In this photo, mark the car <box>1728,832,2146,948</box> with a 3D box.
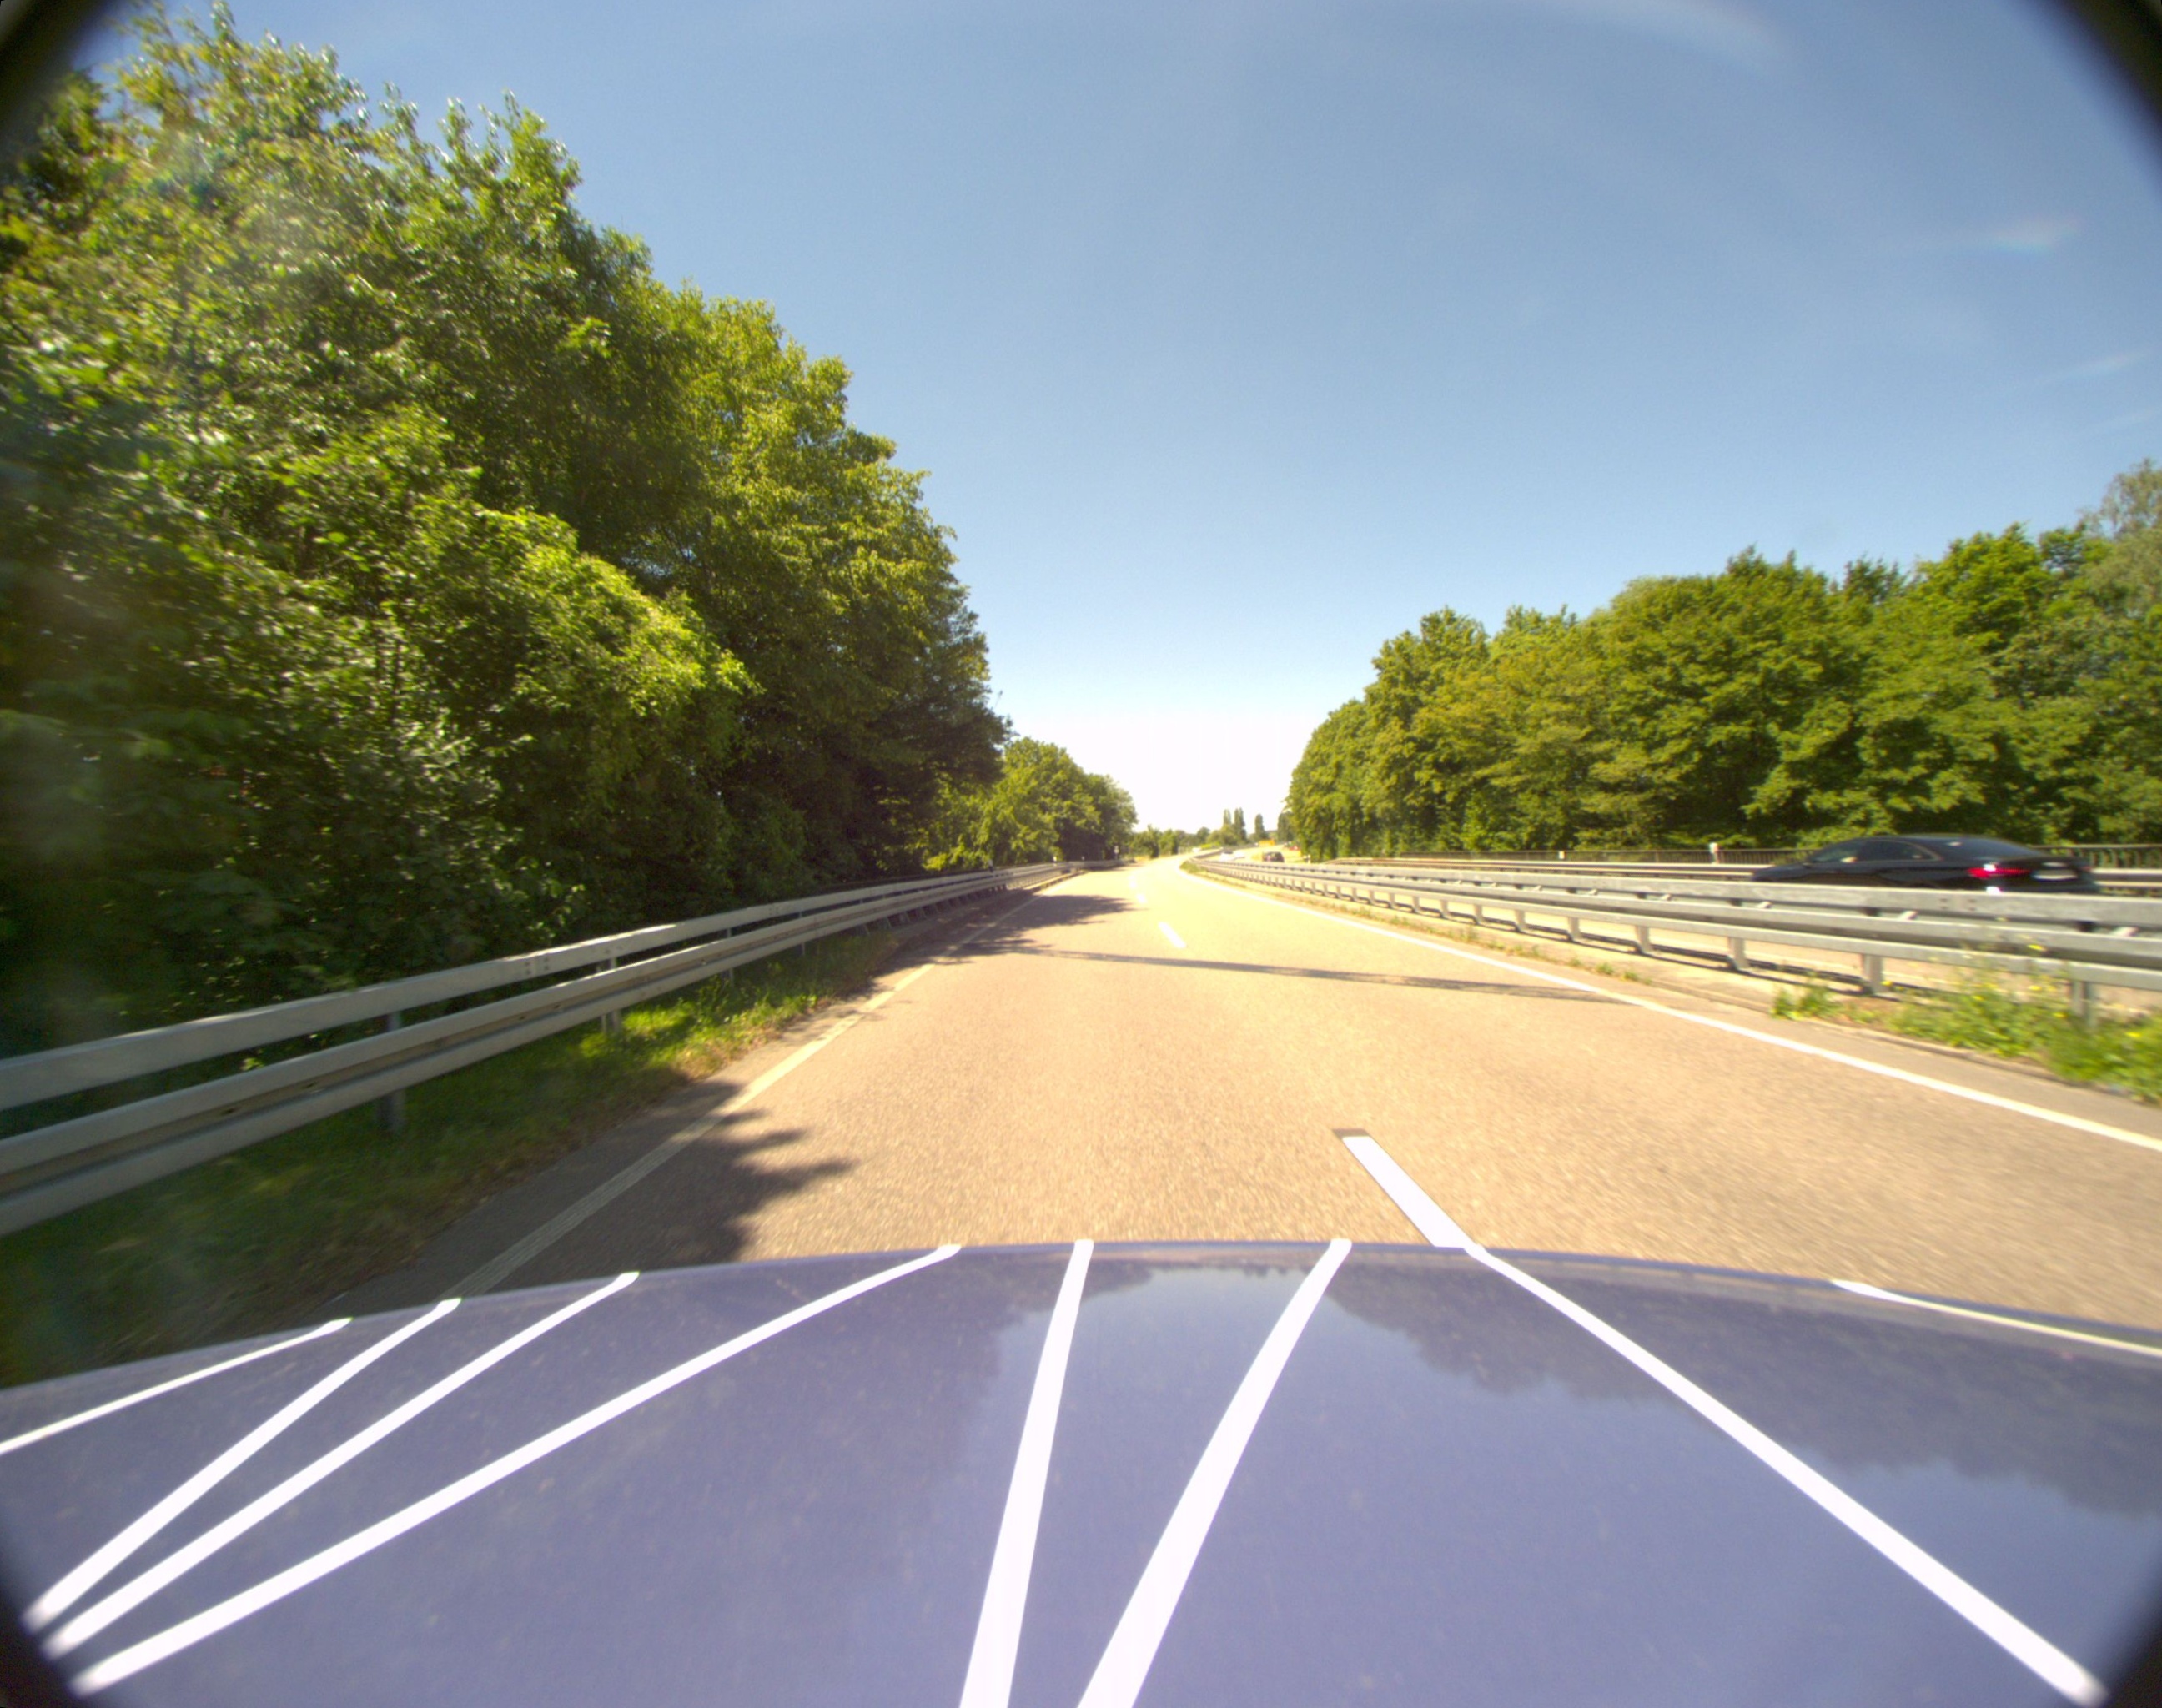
[{"bbox_3d":[13.552,0.482,12.607,1.760,1.519,4.685,-1,0,2],"label":"car"}]

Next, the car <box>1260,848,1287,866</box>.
[{"bbox_3d":[17.981,0.270,71.001,1.655,1.519,3.998,-1,0,2],"label":"car"}]

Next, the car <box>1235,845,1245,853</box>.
[{"bbox_3d":[30.599,-0.884,145.890,1.654,1.439,4.222,-1,0,9],"label":"car"}]

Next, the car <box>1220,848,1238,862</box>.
[{"bbox_3d":[18.009,0.116,92.614,1.654,1.597,4.221,-1,0,5],"label":"car"}]
